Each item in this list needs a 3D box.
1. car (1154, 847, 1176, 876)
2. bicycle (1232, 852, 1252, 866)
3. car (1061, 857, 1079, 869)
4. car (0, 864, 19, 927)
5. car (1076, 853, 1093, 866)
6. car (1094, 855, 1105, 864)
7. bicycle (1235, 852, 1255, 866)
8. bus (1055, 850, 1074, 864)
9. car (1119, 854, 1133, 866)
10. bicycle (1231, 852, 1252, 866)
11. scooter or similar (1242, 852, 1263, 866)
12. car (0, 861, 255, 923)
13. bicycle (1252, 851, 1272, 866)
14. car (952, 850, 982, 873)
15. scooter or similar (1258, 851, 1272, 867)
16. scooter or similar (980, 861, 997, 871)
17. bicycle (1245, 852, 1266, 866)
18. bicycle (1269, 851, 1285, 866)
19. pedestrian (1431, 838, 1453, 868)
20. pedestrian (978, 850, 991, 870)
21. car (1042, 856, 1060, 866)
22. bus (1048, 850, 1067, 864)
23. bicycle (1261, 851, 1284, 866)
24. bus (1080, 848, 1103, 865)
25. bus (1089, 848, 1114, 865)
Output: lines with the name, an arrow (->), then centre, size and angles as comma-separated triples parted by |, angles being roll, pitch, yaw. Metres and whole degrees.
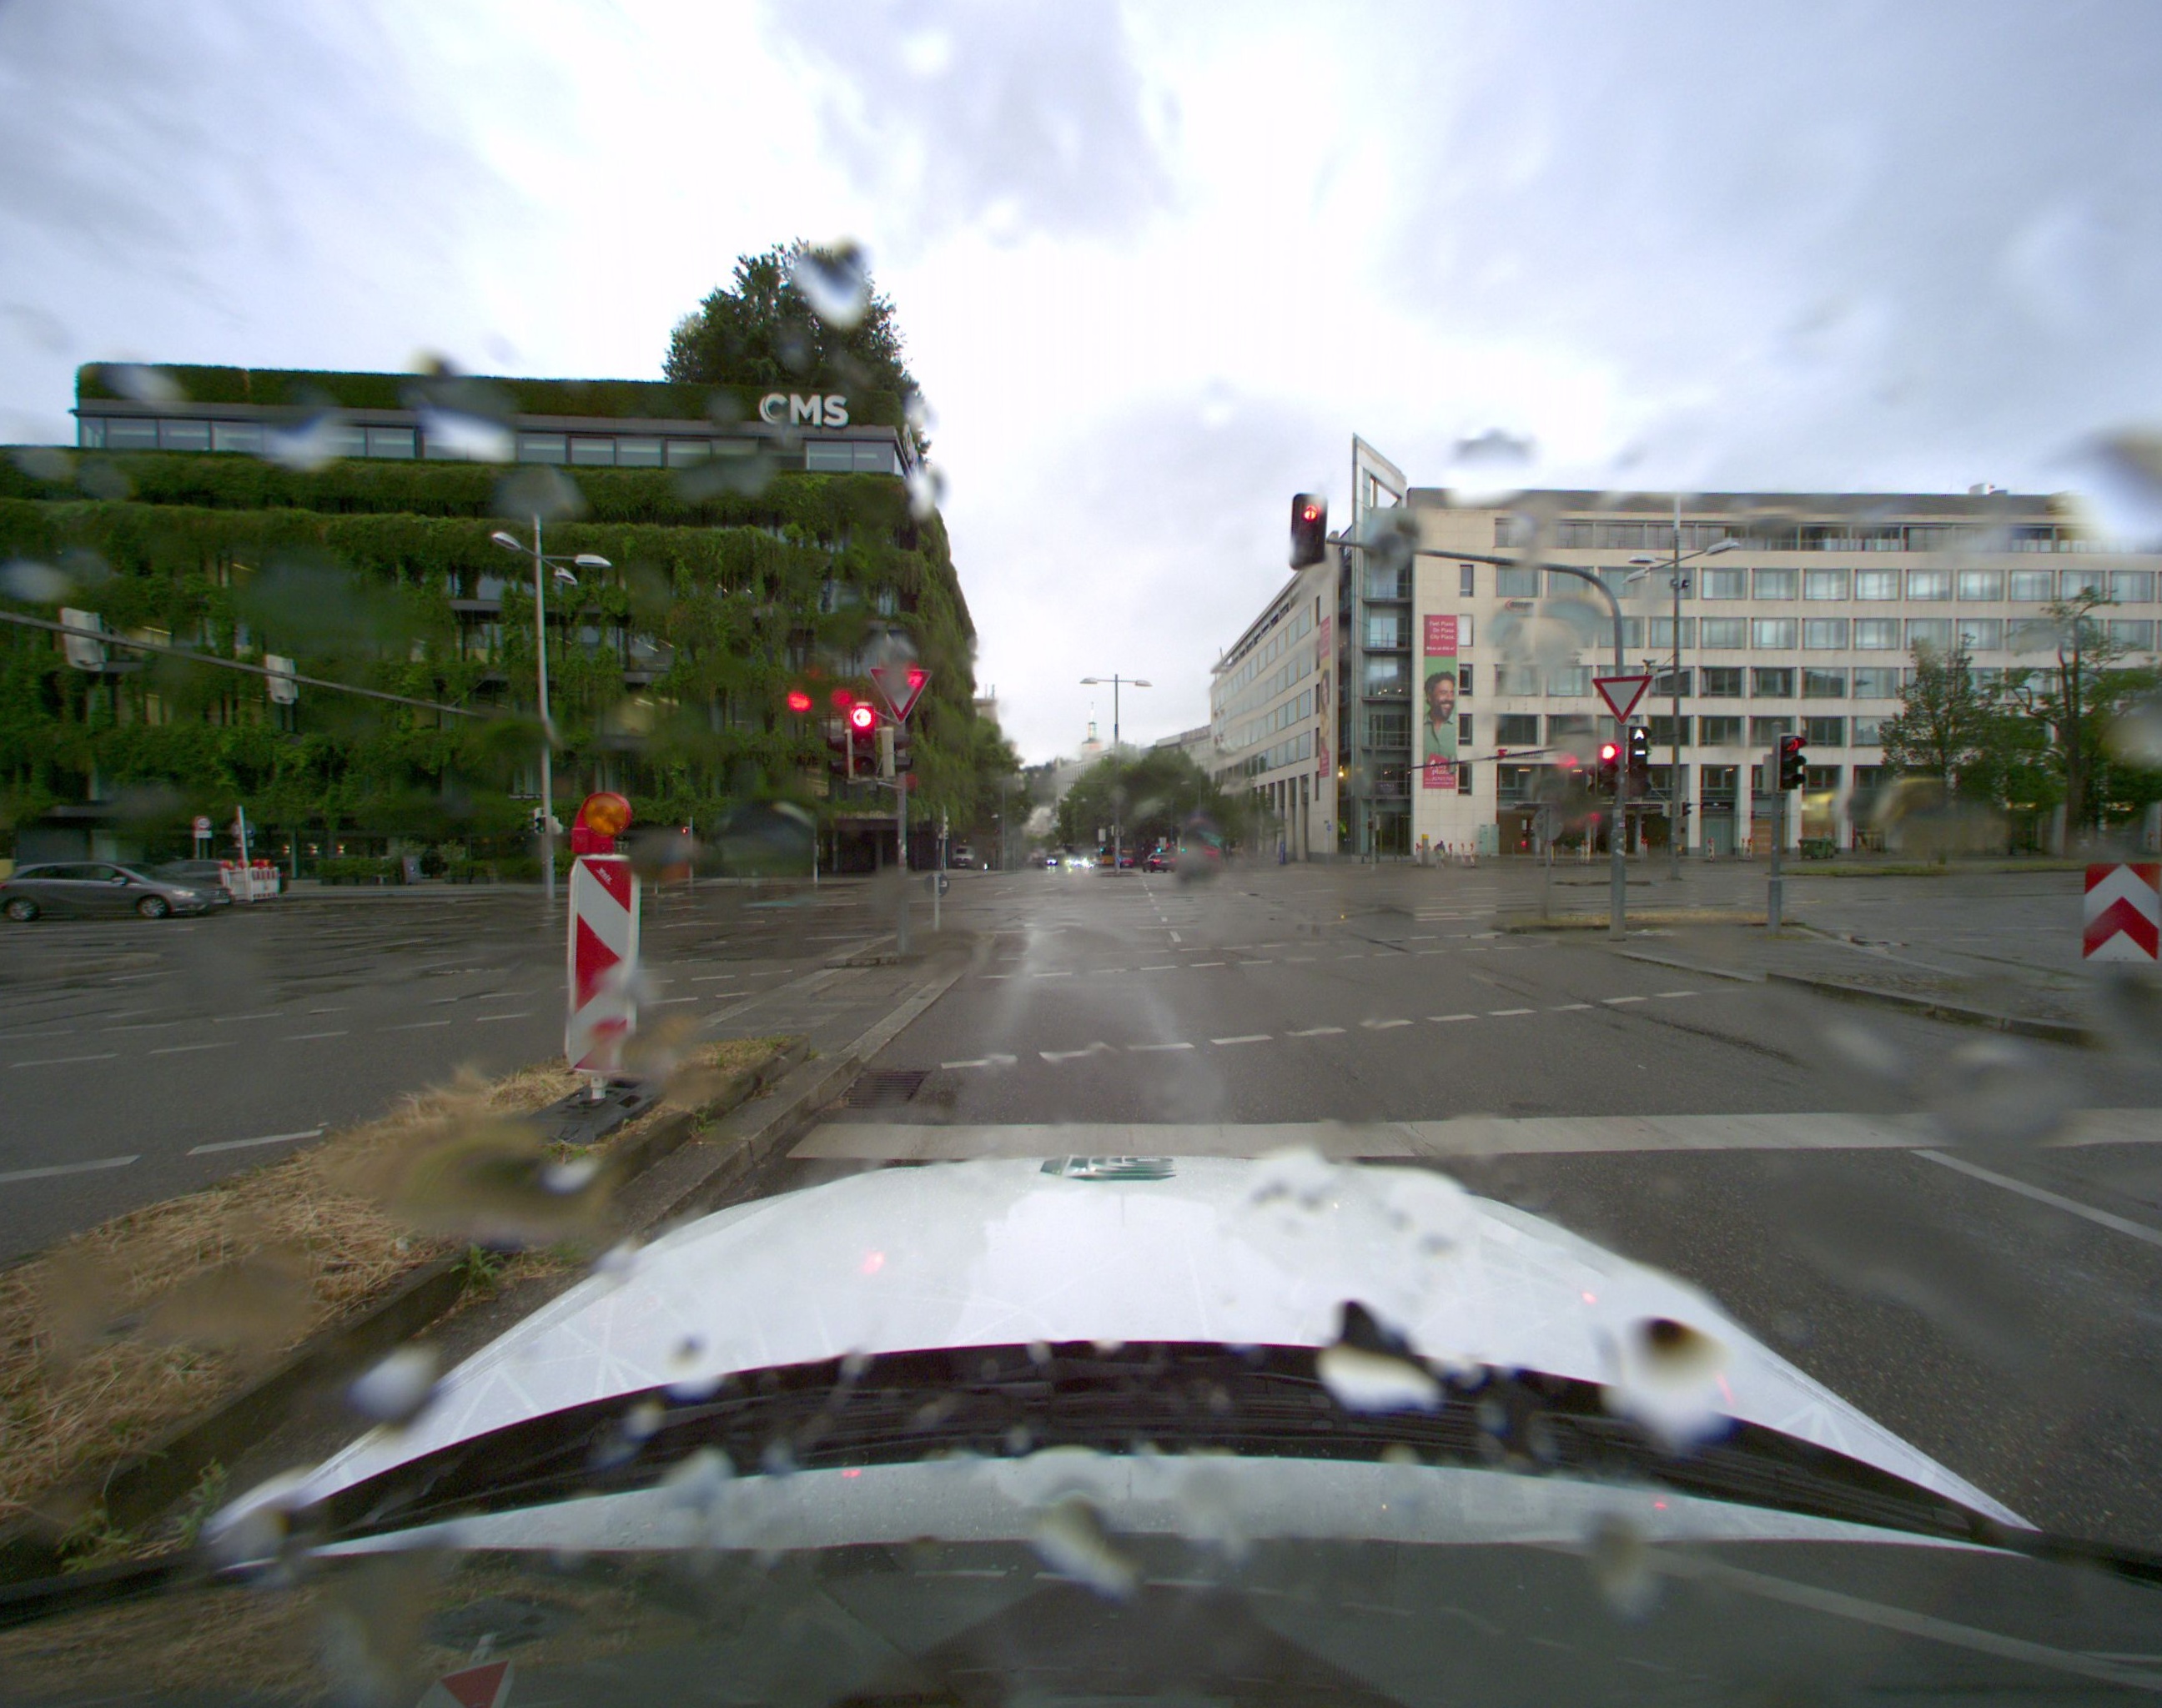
car -> 6.263, 0.550, 60.715 | 1.536, 2.014, 4.676 | 0, -1, 6
bicycle -> 14.471, 0.462, 73.229 | 1.770, 1.194, 0.587 | 0, -1, 3
car -> -1.681, 1.386, 125.044 | 2.163, 1.765, 4.816 | -2, 0, -9
car -> -27.341, 1.005, 18.303 | 3.981, 1.475, 1.996 | -1, 0, -6
car -> 0.491, 0.745, 109.036 | 2.158, 1.765, 5.109 | 0, -1, -1
car -> 3.195, 0.975, 136.998 | 1.775, 1.508, 4.001 | 0, -1, 2
bicycle -> 14.938, 0.466, 74.136 | 1.770, 1.194, 0.587 | 0, -1, 3
bus -> -3.545, 0.663, 173.569 | 2.631, 2.995, 7.294 | -1, 0, -13
car -> 6.129, 0.813, 110.203 | 1.775, 1.508, 4.001 | 0, -1, 2
bicycle -> 14.296, 0.458, 72.599 | 1.770, 1.194, 0.587 | 0, -1, 3
scooter or similar -> 14.908, 0.438, 70.791 | 1.770, 1.194, 0.587 | 0, -1, 3
car -> -26.124, 0.987, 22.060 | 4.901, 1.488, 1.924 | -1, 0, -15
bicycle -> 14.728, 0.402, 66.205 | 0.588, 1.194, 1.768 | 0, -1, -26
car -> -9.559, 0.610, 68.728 | 1.863, 1.839, 4.001 | 0, -1, 2
scooter or similar -> 14.420, 0.386, 63.974 | 0.951, 1.194, 0.458 | -1, -1, 42
scooter or similar -> -9.428, 1.197, 82.942 | 0.616, 1.004, 1.671 | -1, 0, 40
bicycle -> 15.288, 0.441, 71.405 | 1.770, 1.194, 0.587 | 0, -1, 3
bicycle -> 16.051, 0.397, 66.731 | 0.579, 1.194, 1.794 | -1, -1, 40
pedestrian -> 21.916, -0.064, 49.437 | 0.958, 1.816, 0.837 | 0, -1, 1
pedestrian -> -8.138, 0.477, 68.563 | 0.930, 1.644, 0.774 | 0, -1, 1
car -> -5.686, 1.325, 152.585 | 2.168, 1.765, 5.084 | 0, -1, -16
bus -> -5.241, 0.630, 180.712 | 2.631, 2.995, 7.415 | -1, 0, -13
bicycle -> 15.201, 0.385, 64.641 | 1.607, 1.194, 0.590 | -1, -1, 27
bus -> 1.986, 0.459, 153.276 | 2.631, 2.995, 7.415 | -1, 0, -13
bus -> 3.678, 0.428, 146.084 | 2.631, 2.995, 7.415 | -1, 0, -13
